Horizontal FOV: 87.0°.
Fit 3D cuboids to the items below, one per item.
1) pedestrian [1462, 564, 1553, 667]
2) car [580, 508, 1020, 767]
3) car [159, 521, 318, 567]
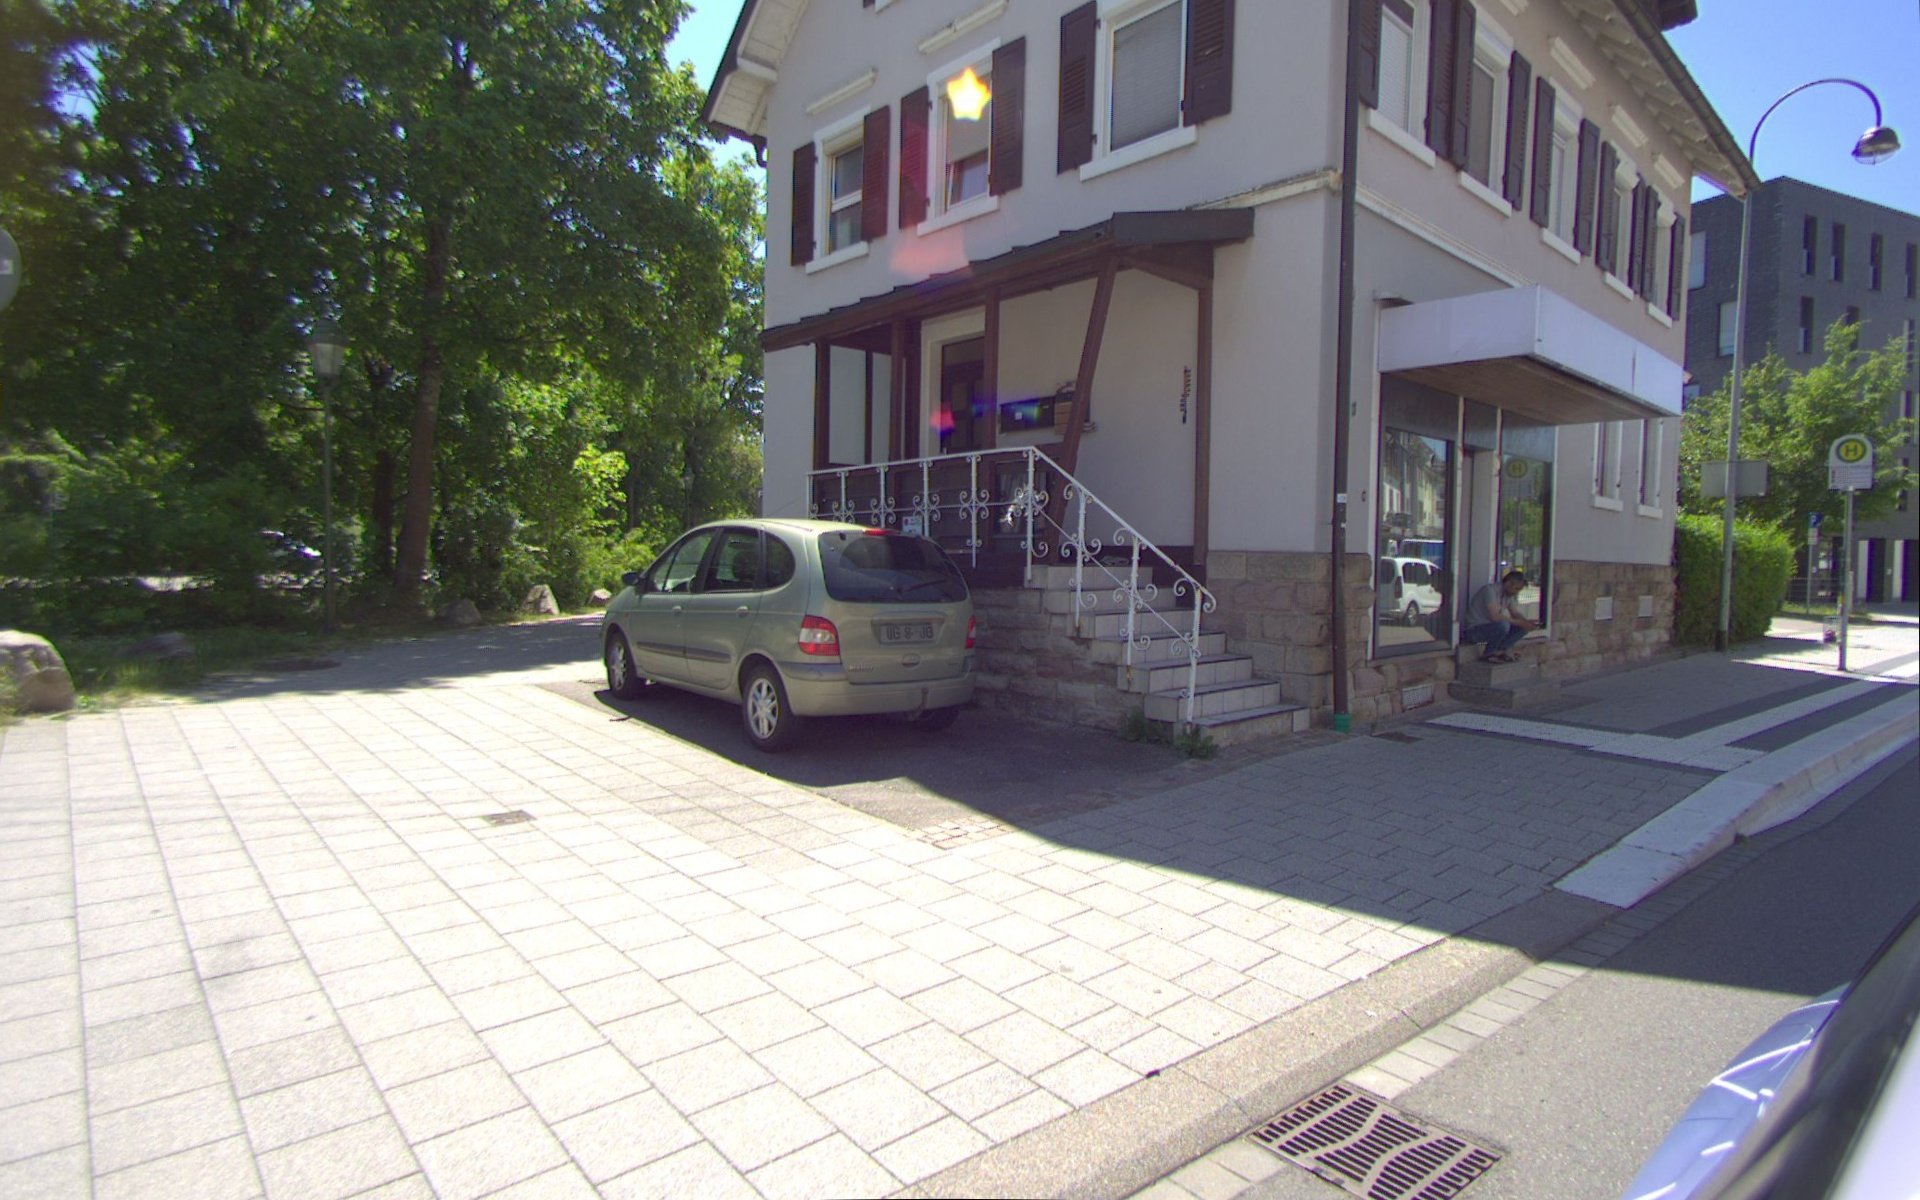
[{"bbox_3d":[5.703,0.143,10.549,0.711,1.011,0.591,-1,4,-42],"label":"pedestrian"},{"bbox_3d":[-1.558,0.086,8.471,1.771,1.614,4.071,-1,5,-40],"label":"car"},{"bbox_3d":[-38.594,-2.983,54.325,6.623,2.266,2.199,1,2,-12],"label":"car"}]
